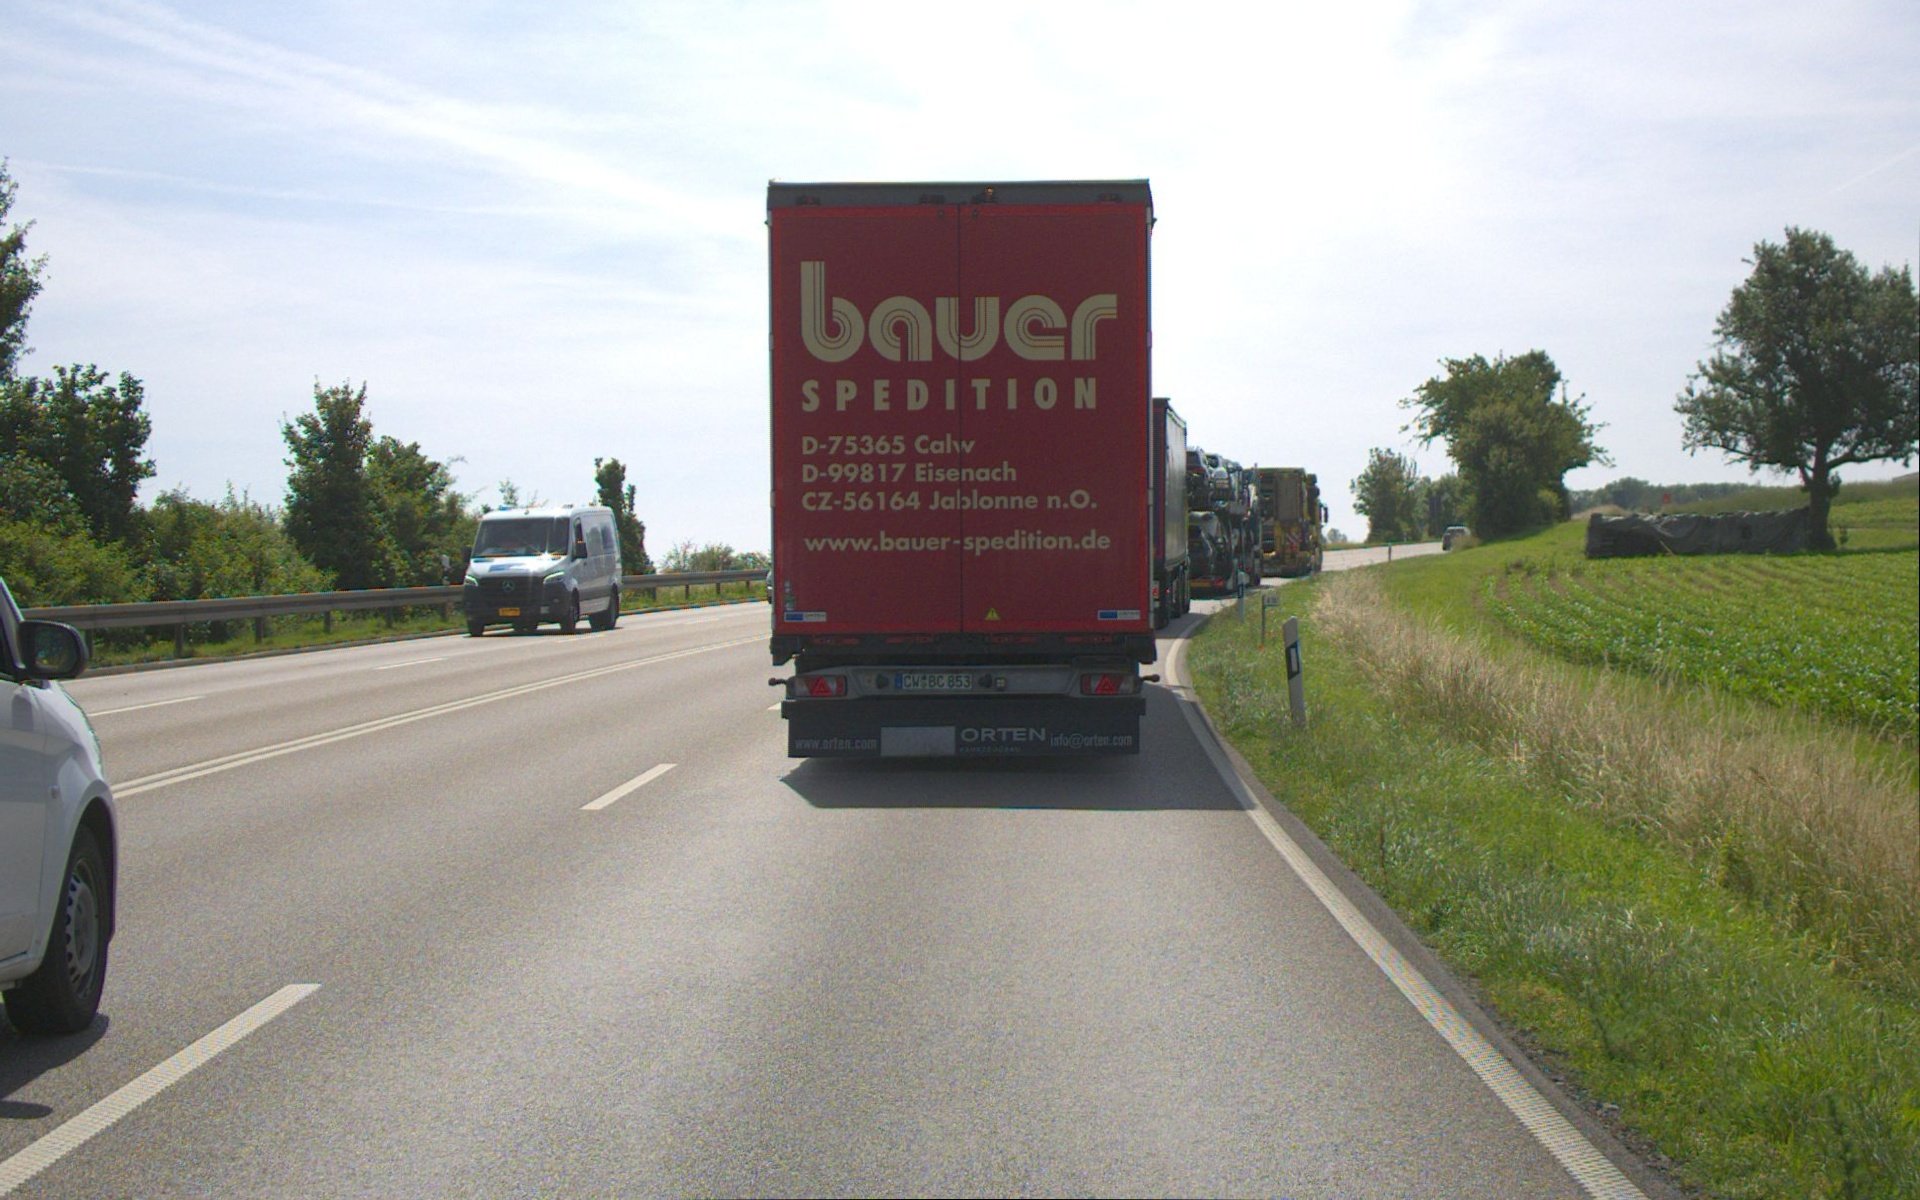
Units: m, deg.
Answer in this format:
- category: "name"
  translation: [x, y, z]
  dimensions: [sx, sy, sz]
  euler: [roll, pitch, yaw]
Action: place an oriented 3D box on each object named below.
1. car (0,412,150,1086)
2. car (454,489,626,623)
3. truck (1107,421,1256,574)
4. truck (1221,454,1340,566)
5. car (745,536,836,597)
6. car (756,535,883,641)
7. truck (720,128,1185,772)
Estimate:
- category: "car"
  translation: [-3.632, 0.438, 8.623]
  dimensions: [1.905, 1.878, 5.432]
  euler: [0, 1, 0]
- category: "car"
  translation: [-7.801, -0.843, 64.466]
  dimensions: [2.089, 2.386, 5.843]
  euler: [-1, 1, 4]
- category: "truck"
  translation: [6.384, -2.821, 96.574]
  dimensions: [3.048, 3.897, 15.611]
  euler: [-1, 1, 8]
- category: "truck"
  translation: [12.253, -3.376, 129.858]
  dimensions: [3.048, 3.897, 18.391]
  euler: [-1, 1, 10]
- category: "car"
  translation: [-4.556, -0.920, 93.020]
  dimensions: [1.813, 1.563, 4.683]
  euler: [1, 1, 5]
- category: "car"
  translation: [-2.144, -0.205, 53.287]
  dimensions: [1.524, 1.576, 4.000]
  euler: [1, 1, 4]
- category: "truck"
  translation: [0.128, -1.143, 30.638]
  dimensions: [3.007, 4.165, 16.714]
  euler: [0, 1, 1]
